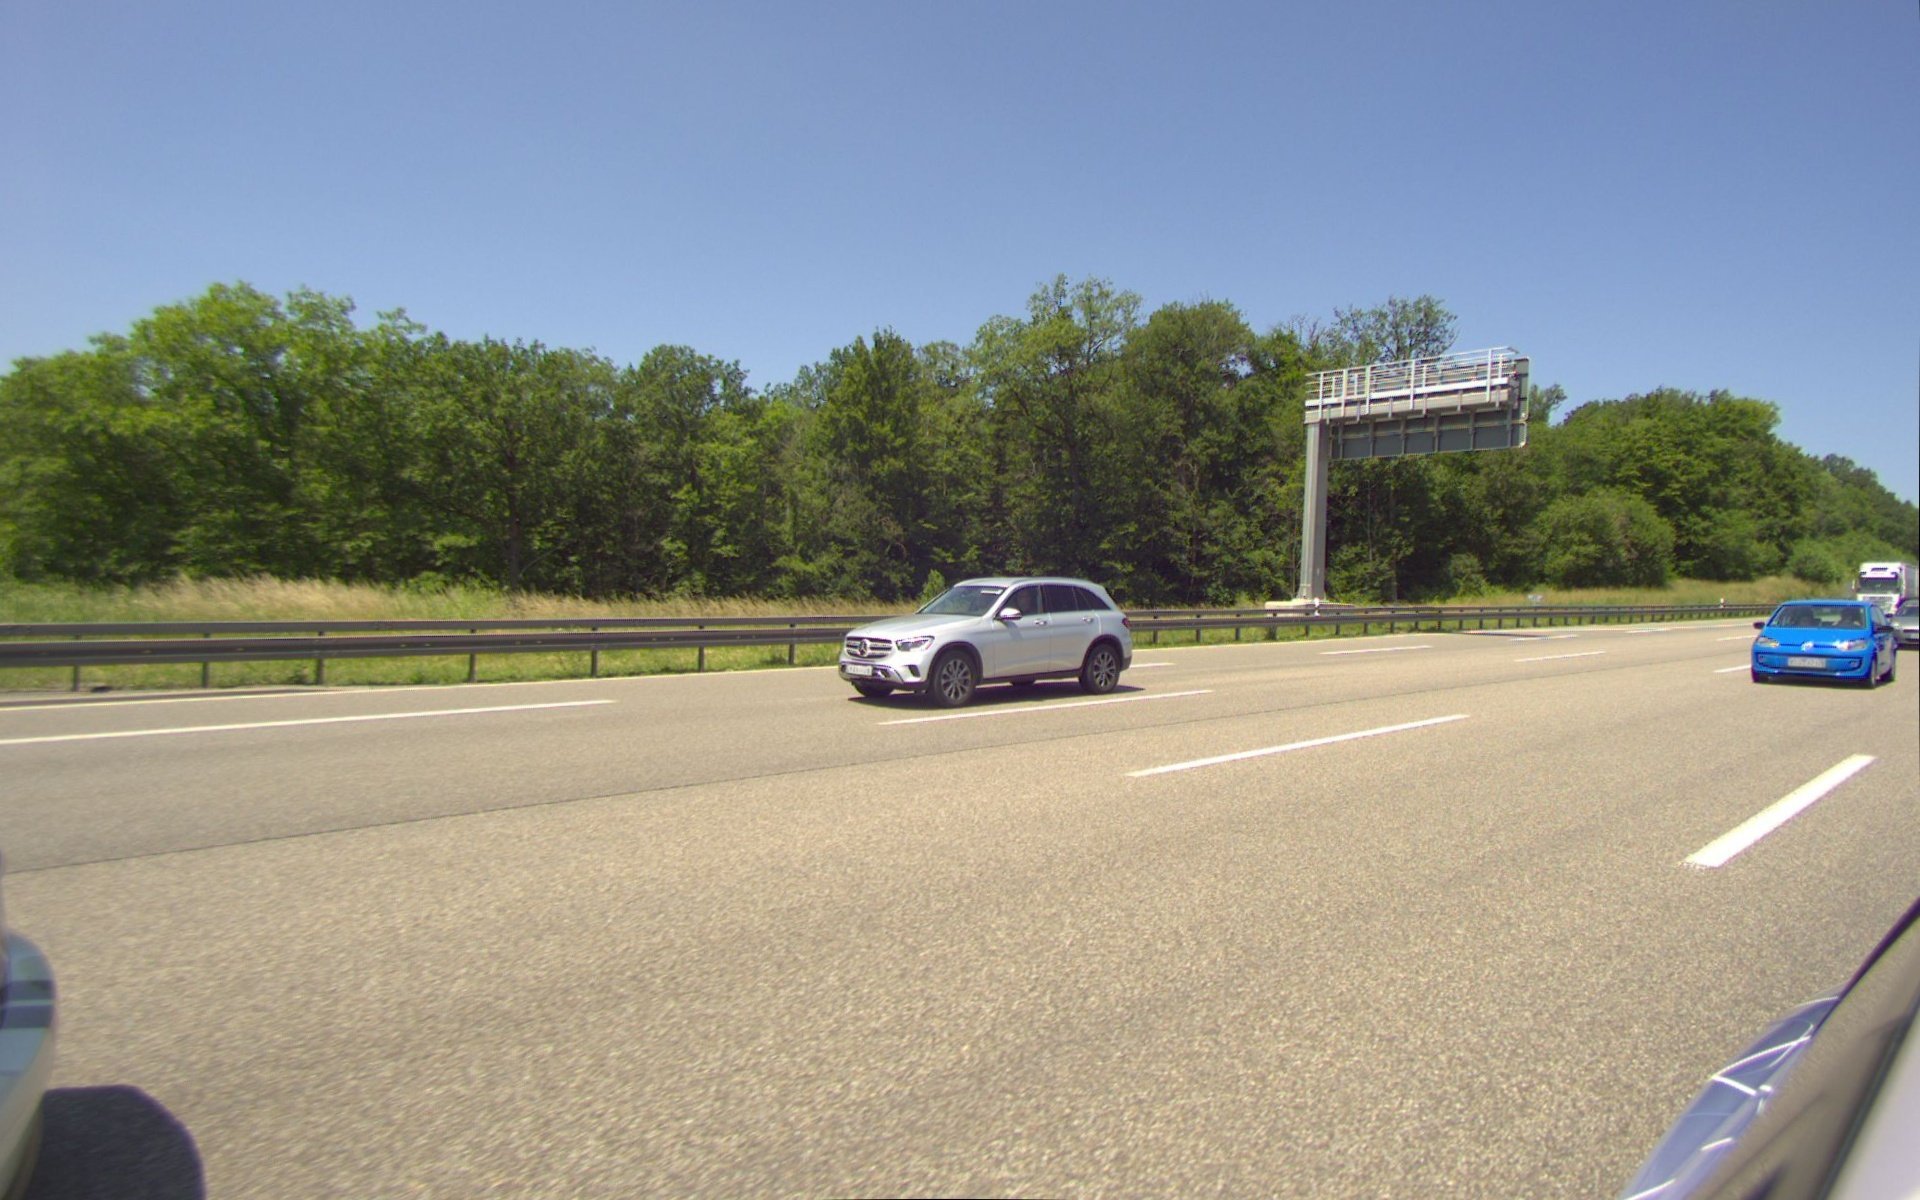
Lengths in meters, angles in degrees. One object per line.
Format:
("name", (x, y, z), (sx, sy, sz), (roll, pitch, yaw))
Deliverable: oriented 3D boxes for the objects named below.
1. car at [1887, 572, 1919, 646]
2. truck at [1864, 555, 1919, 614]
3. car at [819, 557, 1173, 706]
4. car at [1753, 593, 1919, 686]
("car", (29.253, 0.266, 30.100), (4.700, 2.079, 1.965), (0, 0, -41))
("truck", (71.788, -1.052, 77.265), (10.775, 4.213, 2.727), (1, 0, -41))
("car", (0.689, 0.397, 14.281), (5.147, 1.753, 1.804), (1, 0, -41))
("car", (15.687, 0.629, 17.990), (3.929, 1.428, 1.741), (0, 2, -41))
